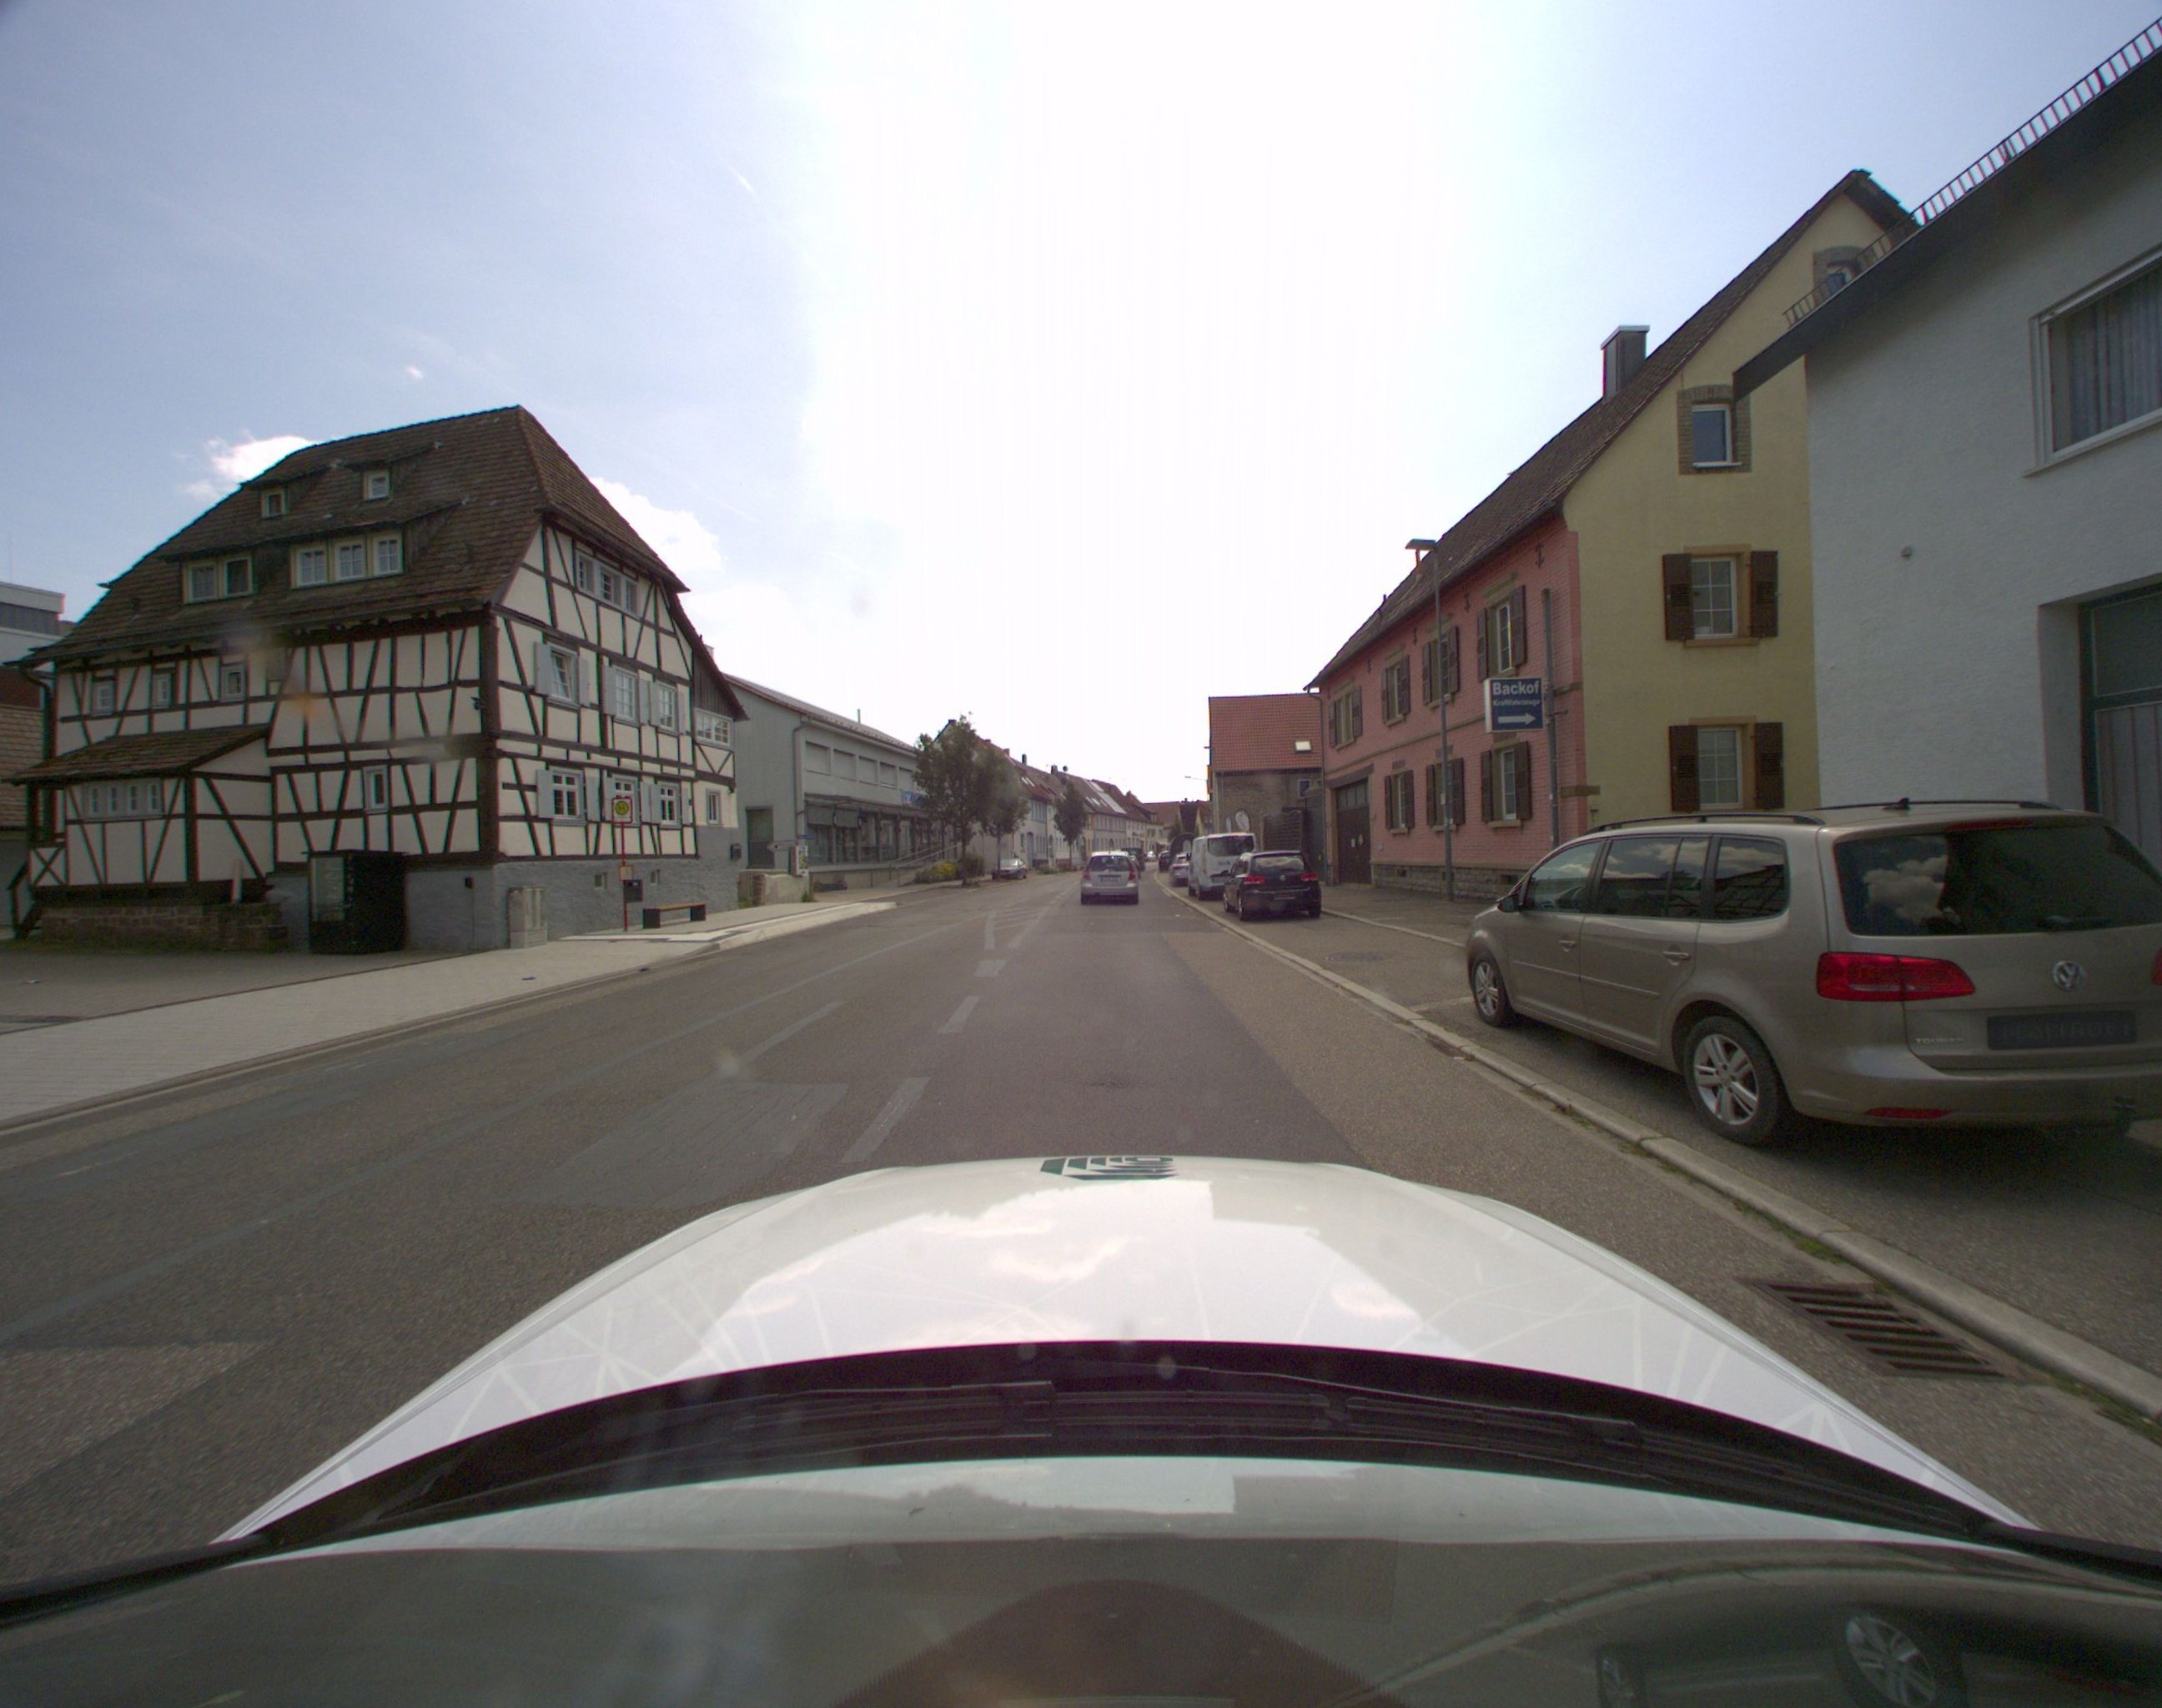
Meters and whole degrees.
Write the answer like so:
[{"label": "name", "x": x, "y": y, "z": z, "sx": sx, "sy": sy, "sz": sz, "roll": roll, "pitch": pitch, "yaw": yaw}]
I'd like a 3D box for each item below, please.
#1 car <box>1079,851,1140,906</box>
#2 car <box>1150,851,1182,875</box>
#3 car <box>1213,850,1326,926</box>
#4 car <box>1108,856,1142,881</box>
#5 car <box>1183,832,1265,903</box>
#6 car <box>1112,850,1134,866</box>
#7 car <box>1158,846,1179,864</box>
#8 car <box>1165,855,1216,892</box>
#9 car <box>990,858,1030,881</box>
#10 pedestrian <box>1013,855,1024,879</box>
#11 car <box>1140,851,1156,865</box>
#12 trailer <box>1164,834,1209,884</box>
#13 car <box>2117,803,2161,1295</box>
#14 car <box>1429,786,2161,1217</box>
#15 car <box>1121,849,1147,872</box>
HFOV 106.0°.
[{"label": "car", "x": 0.896, "y": 0.732, "z": 25.893, "sx": 1.762, "sy": 1.595, "sz": 4.001, "roll": 1, "pitch": -1, "yaw": 2}, {"label": "car", "x": 6.352, "y": 0.634, "z": 60.407, "sx": 1.981, "sy": 1.559, "sz": 4.011, "roll": -3, "pitch": 0, "yaw": 10}, {"label": "car", "x": 4.204, "y": 0.700, "z": 18.774, "sx": 1.767, "sy": 1.495, "sz": 4.164, "roll": -2, "pitch": 0, "yaw": 3}, {"label": "car", "x": 2.574, "y": 0.858, "z": 48.200, "sx": 1.938, "sy": 1.407, "sz": 4.002, "roll": 1, "pitch": -1, "yaw": 2}, {"label": "car", "x": 4.546, "y": 0.408, "z": 26.517, "sx": 1.884, "sy": 1.982, "sz": 4.934, "roll": -4, "pitch": 0, "yaw": 3}, {"label": "car", "x": 5.387, "y": 0.531, "z": 104.281, "sx": 2.078, "sy": 1.884, "sz": 4.013, "roll": -2, "pitch": 0, "yaw": 12}, {"label": "car", "x": 11.260, "y": 0.157, "z": 104.898, "sx": 2.222, "sy": 2.222, "sz": 4.012, "roll": -3, "pitch": -1, "yaw": 11}, {"label": "car", "x": 4.816, "y": 0.816, "z": 36.435, "sx": 1.868, "sy": 1.481, "sz": 4.677, "roll": -1, "pitch": 0, "yaw": 3}, {"label": "car", "x": -4.685, "y": 1.026, "z": 54.579, "sx": 1.794, "sy": 1.460, "sz": 4.167, "roll": -1, "pitch": 0, "yaw": 7}, {"label": "pedestrian", "x": -4.856, "y": 1.005, "z": 63.399, "sx": 0.736, "sy": 1.801, "sz": 0.643, "roll": -3, "pitch": -1, "yaw": 4}, {"label": "car", "x": 10.093, "y": 0.599, "z": 122.944, "sx": 1.982, "sy": 2.014, "sz": 4.010, "roll": -3, "pitch": -1, "yaw": 9}, {"label": "trailer", "x": 5.319, "y": 0.233, "z": 41.429, "sx": 1.838, "sy": 2.354, "sz": 3.591, "roll": -2, "pitch": 0, "yaw": 2}, {"label": "car", "x": 4.351, "y": 0.555, "z": 0.428, "sx": 1.988, "sy": 1.517, "sz": 4.368, "roll": -2, "pitch": 0, "yaw": -2}, {"label": "car", "x": 4.166, "y": 0.584, "z": 5.405, "sx": 1.985, "sy": 1.680, "sz": 4.326, "roll": -2, "pitch": 0, "yaw": 2}, {"label": "car", "x": 4.426, "y": 0.540, "z": 67.533, "sx": 1.758, "sy": 1.888, "sz": 4.458, "roll": 1, "pitch": -1, "yaw": 9}]
